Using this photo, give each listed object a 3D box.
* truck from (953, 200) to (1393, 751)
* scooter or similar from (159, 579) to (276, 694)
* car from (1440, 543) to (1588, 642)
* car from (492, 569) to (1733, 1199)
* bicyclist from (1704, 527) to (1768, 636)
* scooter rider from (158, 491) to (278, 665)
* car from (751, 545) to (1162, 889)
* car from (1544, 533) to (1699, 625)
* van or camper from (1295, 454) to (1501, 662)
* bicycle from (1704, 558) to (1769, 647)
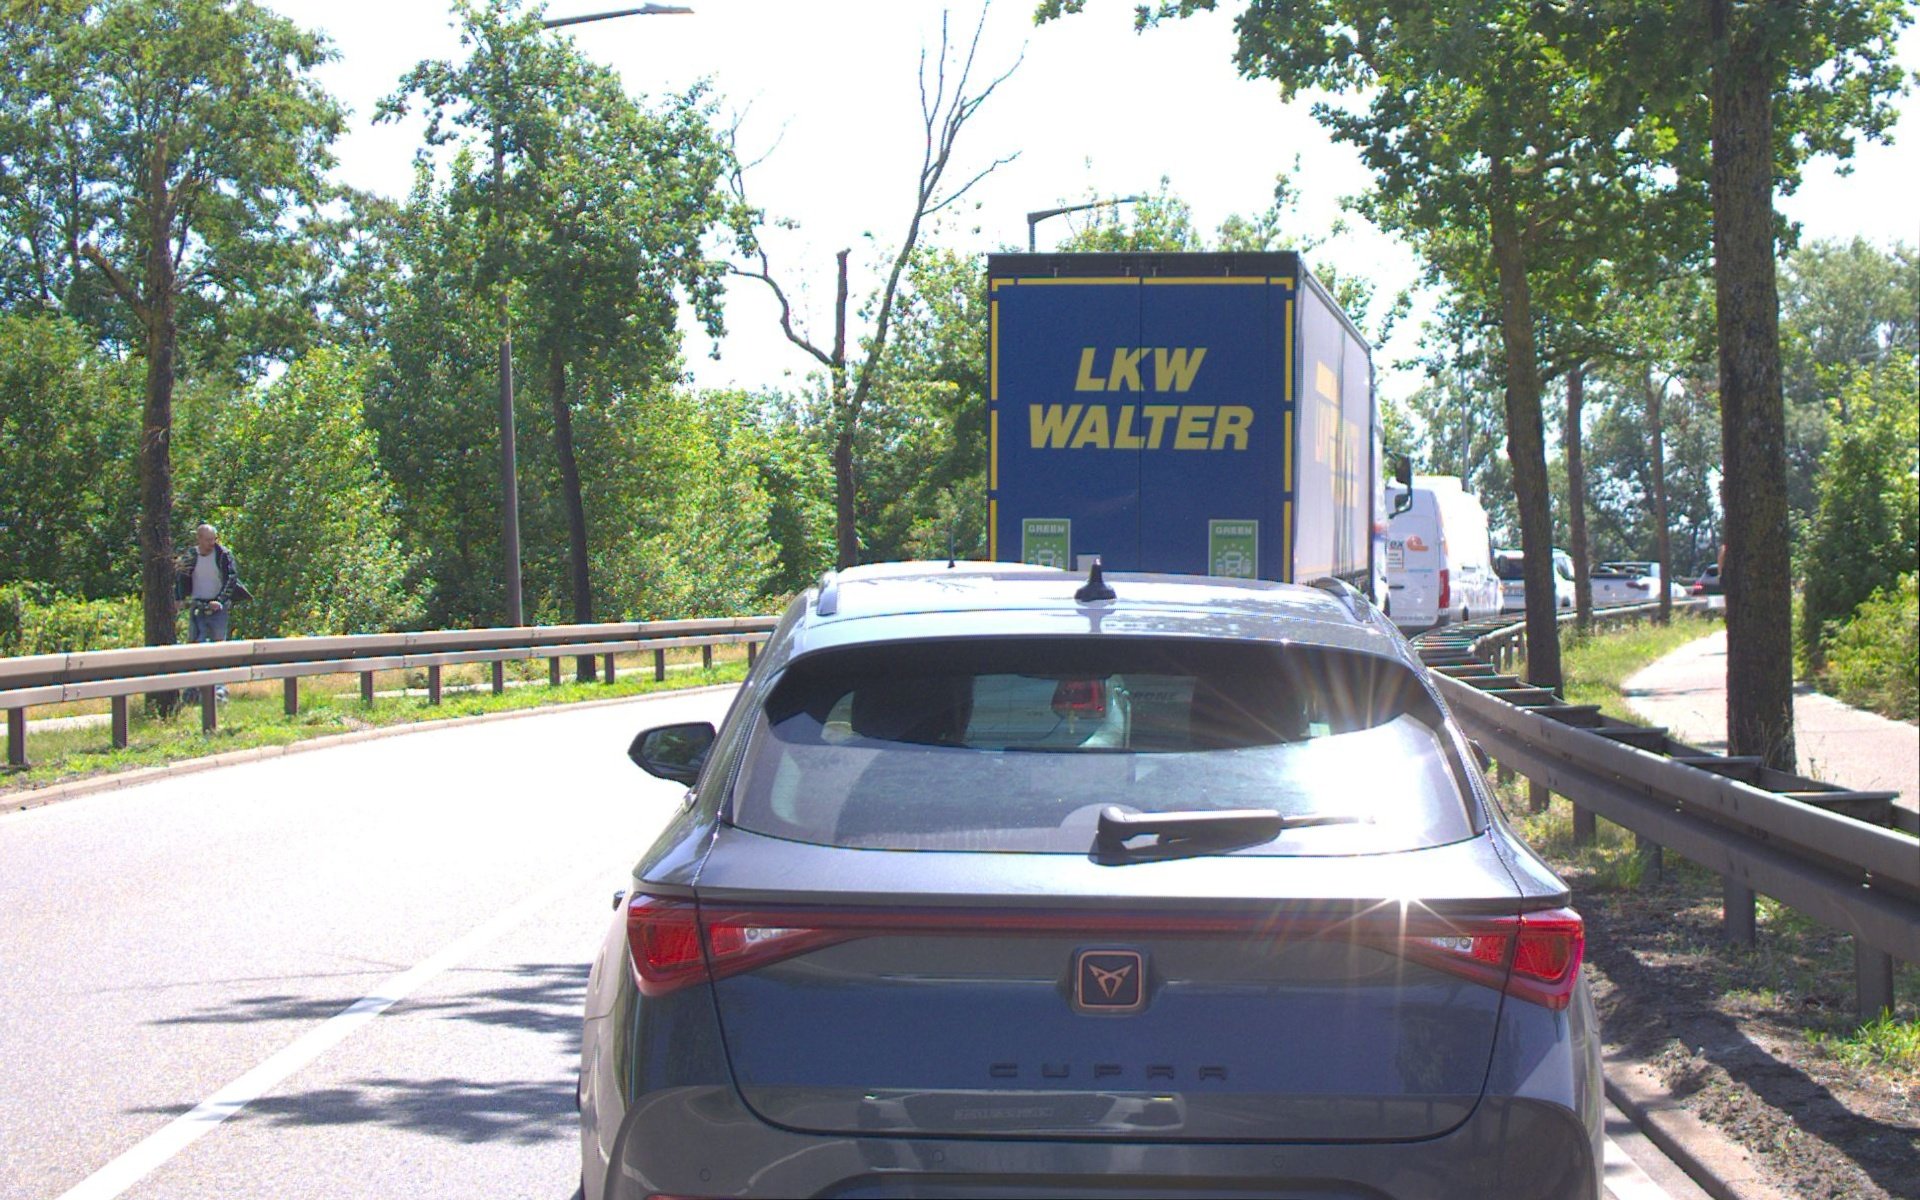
[{"bbox_3d":[2.757,-1.085,36.196,2.951,4.433,16.792,1,1,9],"label":"truck"},{"bbox_3d":[-7.198,0.345,33.384,0.777,1.087,1.095,1,0,7],"label":"scooter or similar"},{"bbox_3d":[10.090,-0.152,62.371,1.995,1.706,4.616,1,1,17],"label":"car"},{"bbox_3d":[0.191,0.667,6.803,1.744,1.427,3.880,1,1,-1],"label":"car"},{"bbox_3d":[11.012,-0.269,48.774,0.861,1.518,0.979,1,0,13],"label":"bicyclist"},{"bbox_3d":[-7.197,-0.218,33.384,0.777,1.651,1.120,1,0,9],"label":"scooter rider"},{"bbox_3d":[0.077,0.499,17.289,1.809,1.503,4.000,1,1,3],"label":"car"},{"bbox_3d":[13.572,-0.432,70.317,1.996,1.802,4.839,1,1,25],"label":"car"},{"bbox_3d":[6.823,-0.643,52.935,2.468,2.988,6.082,1,1,13],"label":"van or camper"},{"bbox_3d":[11.033,0.024,48.827,0.861,1.232,2.308,1,1,13],"label":"bicycle"}]
